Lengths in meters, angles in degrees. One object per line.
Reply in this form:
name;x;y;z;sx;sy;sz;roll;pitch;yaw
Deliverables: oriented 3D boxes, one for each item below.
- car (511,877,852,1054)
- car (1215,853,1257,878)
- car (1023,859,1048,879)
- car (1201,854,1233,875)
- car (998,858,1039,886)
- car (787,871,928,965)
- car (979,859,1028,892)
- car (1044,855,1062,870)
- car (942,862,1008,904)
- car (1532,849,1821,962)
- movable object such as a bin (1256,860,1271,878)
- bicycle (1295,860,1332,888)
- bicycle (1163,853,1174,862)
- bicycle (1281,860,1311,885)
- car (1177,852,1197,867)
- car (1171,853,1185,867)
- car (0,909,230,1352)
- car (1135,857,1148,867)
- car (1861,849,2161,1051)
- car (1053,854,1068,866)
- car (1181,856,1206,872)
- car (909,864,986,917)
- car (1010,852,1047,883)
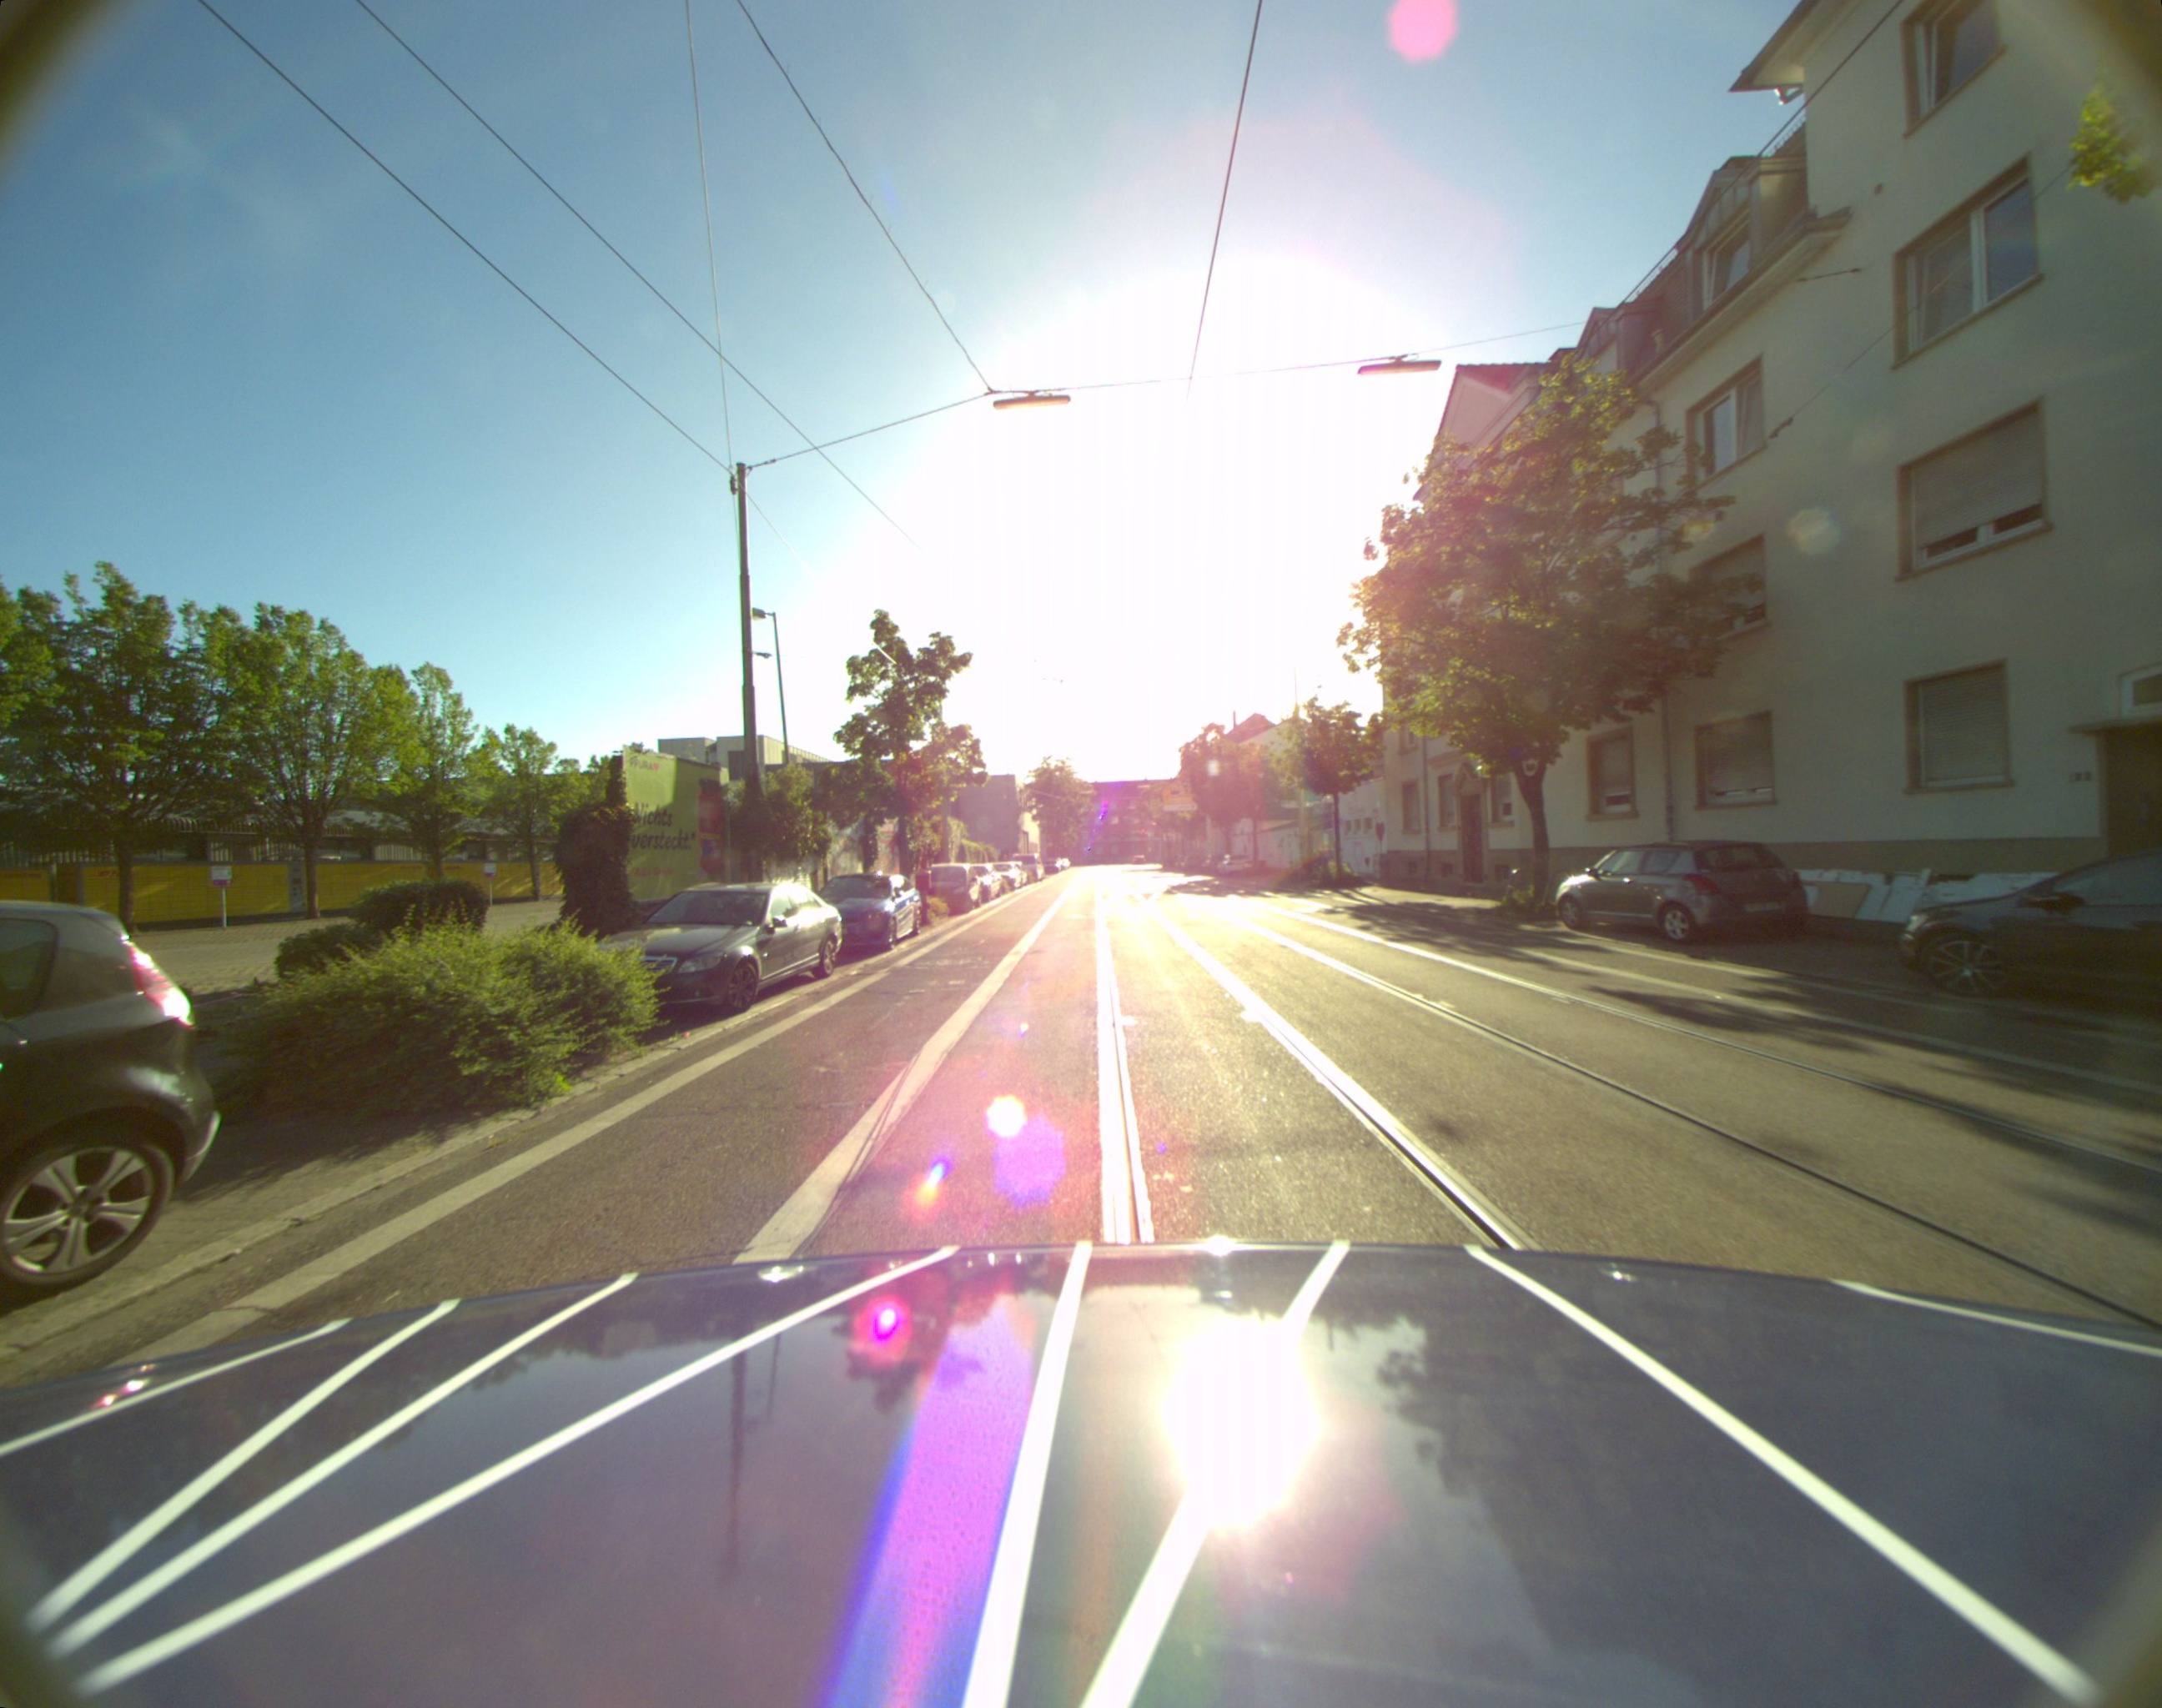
car;-4.560;1.155;9.631;1.732;1.455;4.498;-3;0;2
car;10.414;0.758;51.303;1.869;1.482;4.661;-3;0;1
car;-3.562;1.159;59.969;1.680;1.409;4.502;-1;0;0
car;10.562;0.789;59.224;1.777;1.477;4.305;-3;0;1
car;-3.780;1.091;46.822;1.877;1.464;4.076;-3;0;3
car;-4.425;1.193;15.730;1.732;1.455;4.340;-3;0;-3
car;-3.937;1.058;39.340;1.828;1.476;4.601;-3;0;2
car;-3.026;0.918;83.618;1.706;1.473;4.658;0;0;1
car;-4.245;1.114;31.049;1.828;1.443;4.642;-2;0;2
car;9.447;0.704;12.542;1.655;1.482;4.000;-3;0;2
movable object such as a bin;10.636;0.872;44.259;0.583;0.954;0.702;-8;1;2
bicycle;9.911;0.849;32.335;1.990;1.034;0.531;-4;1;-44
bicycle;11.378;0.442;99.009;1.344;1.162;0.409;-3;1;2
bicycle;10.198;0.870;36.073;0.667;1.034;1.790;-3;1;39
car;11.183;0.556;80.189;1.576;1.496;4.000;-3;0;2
car;11.683;0.723;91.490;1.358;1.493;2.548;-3;-2;2
car;-4.935;1.075;1.417;1.732;1.595;4.342;0;0;1
car;9.797;1.284;123.623;1.770;1.455;4.747;-2;0;0
car;8.891;0.722;5.772;1.655;1.416;4.189;-3;0;2
car;-2.569;0.815;97.036;1.716;1.481;4.624;-2;-1;1
car;10.991;0.953;74.403;1.878;1.420;4.293;-3;0;2
car;-4.186;1.093;24.379;1.829;1.484;3.814;0;0;0
car;-3.605;0.860;52.845;1.858;1.980;5.242;-2;0;3
